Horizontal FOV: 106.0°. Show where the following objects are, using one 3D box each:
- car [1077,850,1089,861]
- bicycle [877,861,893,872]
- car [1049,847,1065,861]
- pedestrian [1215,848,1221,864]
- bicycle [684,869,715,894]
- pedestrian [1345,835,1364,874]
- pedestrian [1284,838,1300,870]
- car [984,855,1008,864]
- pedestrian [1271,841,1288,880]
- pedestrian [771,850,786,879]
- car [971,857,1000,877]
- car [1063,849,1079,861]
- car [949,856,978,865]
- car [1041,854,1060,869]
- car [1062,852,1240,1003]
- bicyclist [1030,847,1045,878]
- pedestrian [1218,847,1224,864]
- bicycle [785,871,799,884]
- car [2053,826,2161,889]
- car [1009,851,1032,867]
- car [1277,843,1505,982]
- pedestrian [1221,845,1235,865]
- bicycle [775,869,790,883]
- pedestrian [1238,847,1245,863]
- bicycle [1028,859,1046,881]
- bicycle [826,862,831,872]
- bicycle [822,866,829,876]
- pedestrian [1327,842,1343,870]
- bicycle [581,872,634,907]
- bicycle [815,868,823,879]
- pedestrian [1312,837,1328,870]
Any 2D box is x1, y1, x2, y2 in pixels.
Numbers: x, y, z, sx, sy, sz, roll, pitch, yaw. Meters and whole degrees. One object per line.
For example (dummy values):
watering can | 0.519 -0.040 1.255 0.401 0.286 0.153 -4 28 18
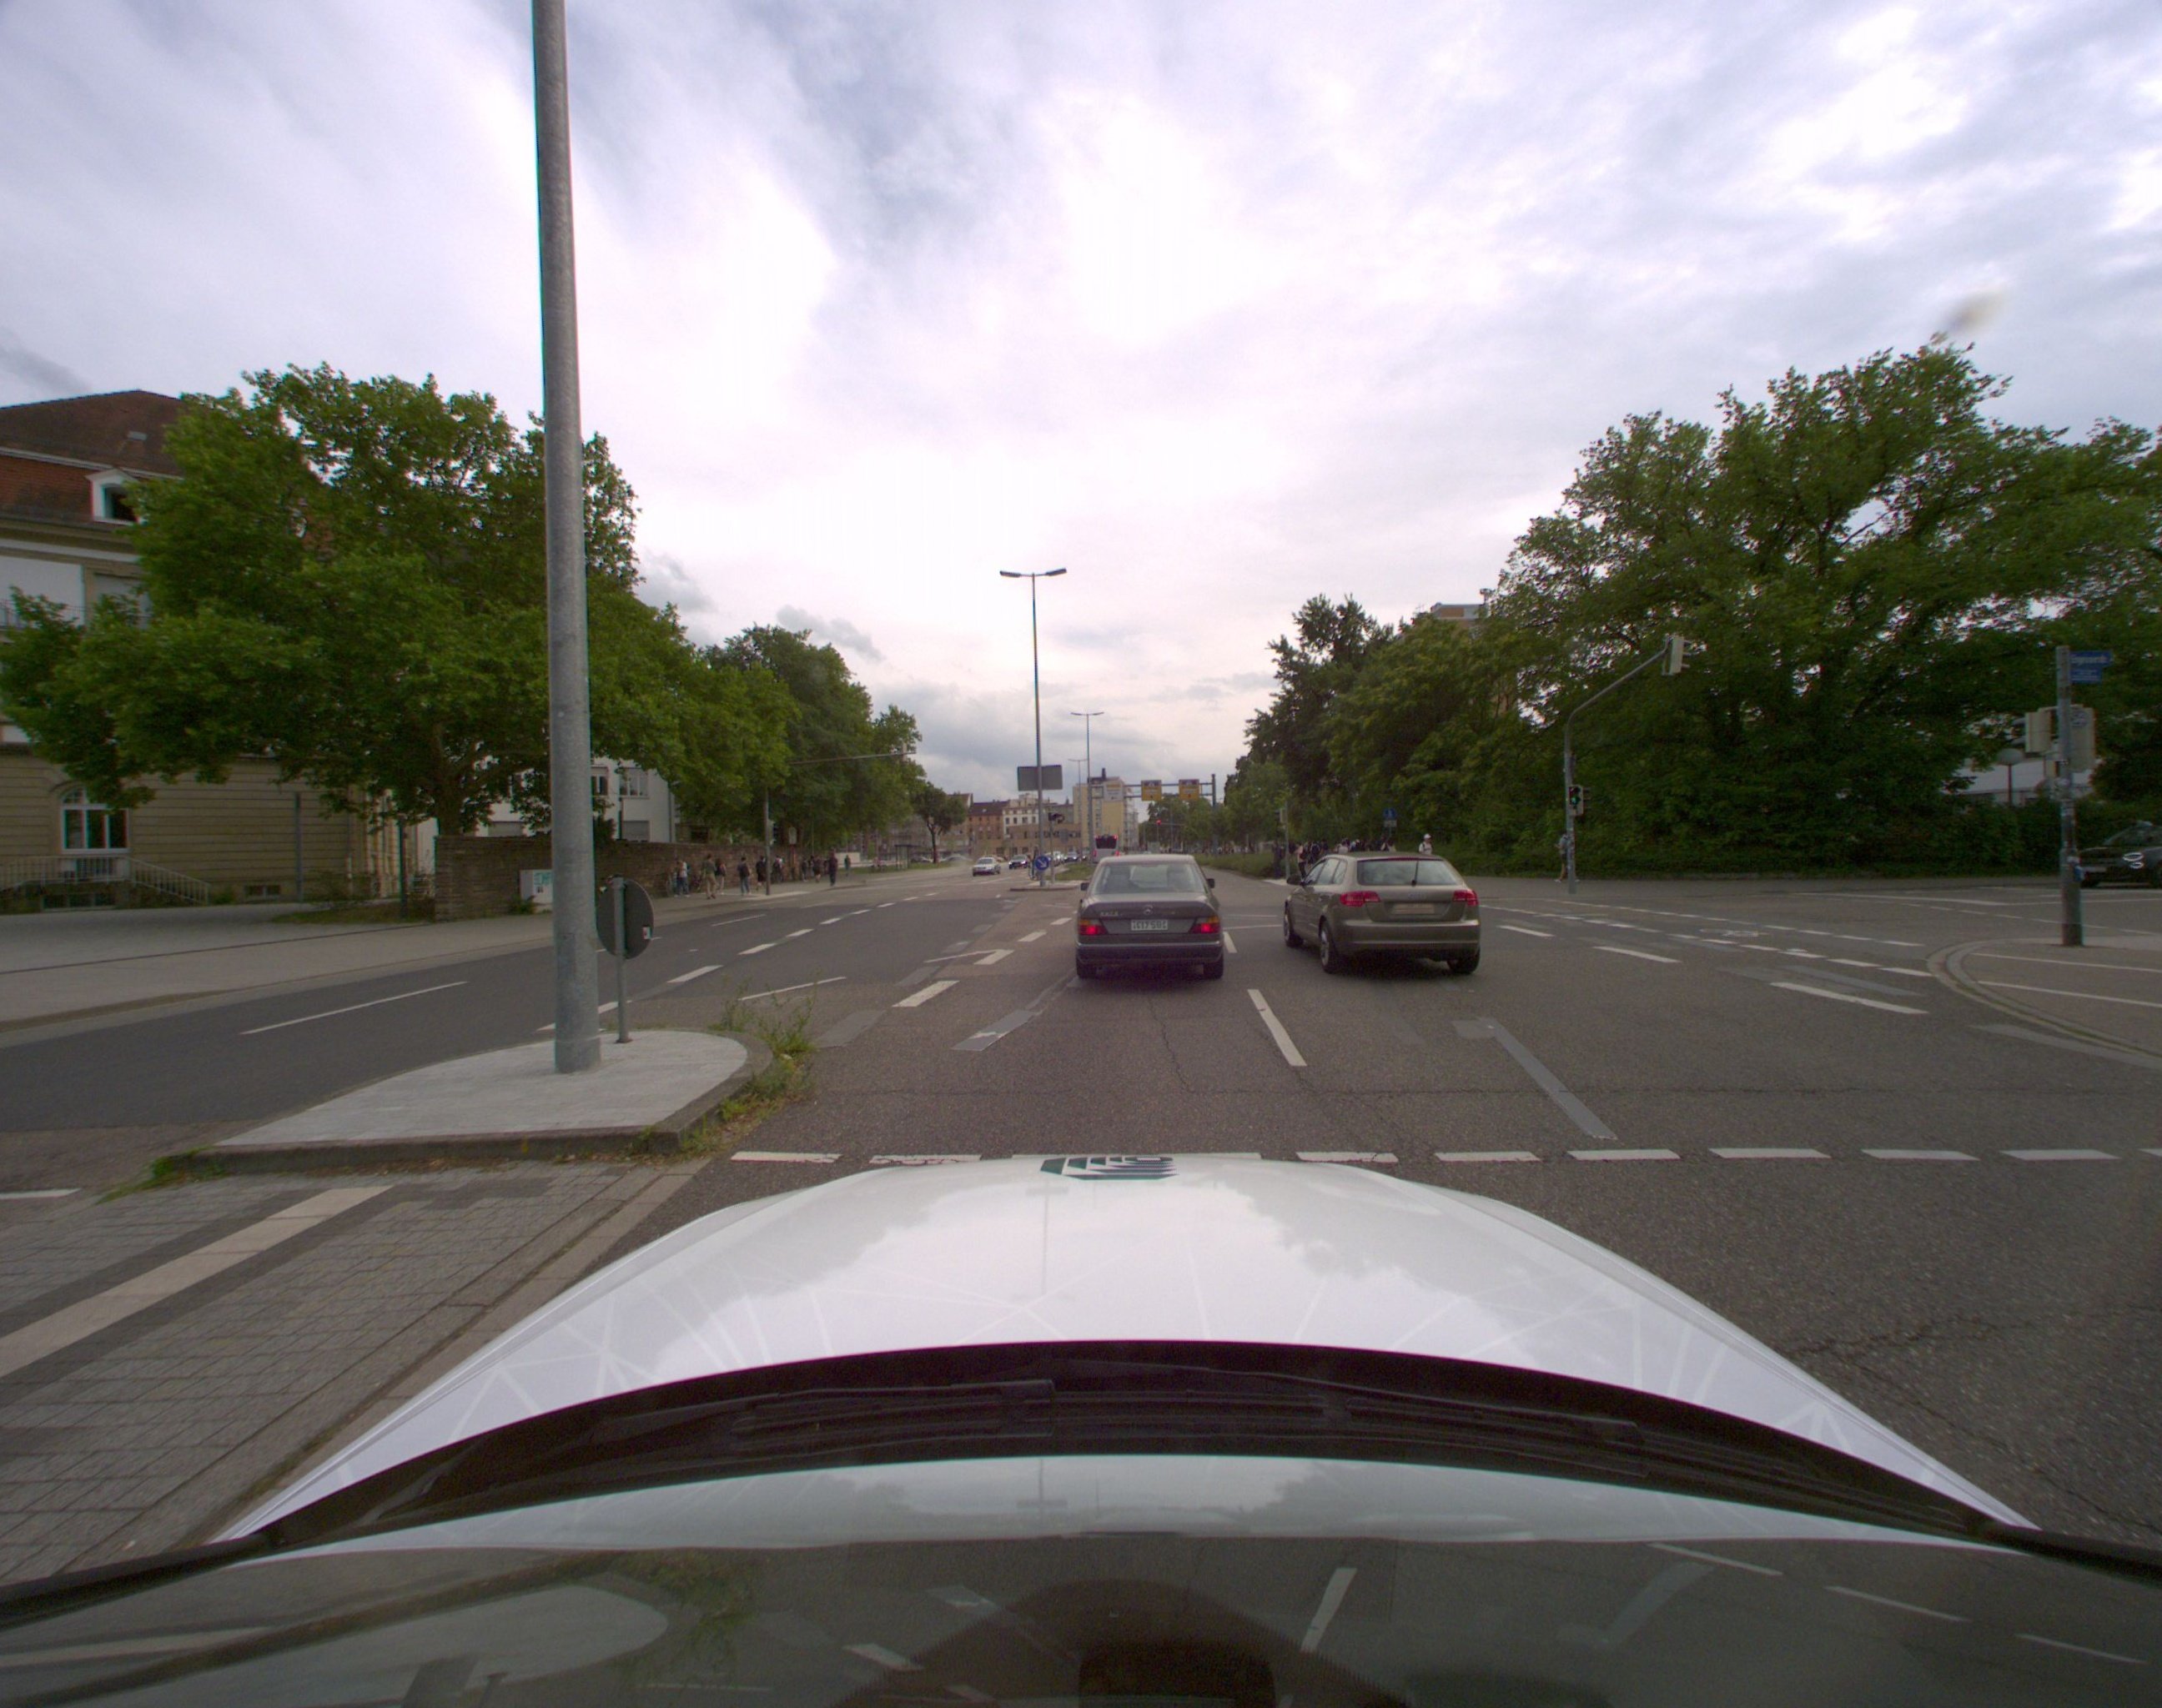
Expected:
car | 0.310 0.218 128.617 1.564 1.489 3.642 -4 0 5
bicycle | -17.767 1.144 73.861 0.467 0.918 2.346 -1 0 11
car | -3.584 0.049 121.369 1.934 2.013 4.003 -2 0 3
pedestrian | 17.092 0.210 101.567 0.611 2.013 0.598 -1 0 2
bicycle | -17.301 1.225 36.999 0.547 1.058 1.979 1 0 -3
pedestrian | 12.383 0.034 36.887 0.579 1.745 0.790 -2 0 2
pedestrian | 12.260 -0.023 47.416 0.690 1.821 0.955 -2 0 4
car | -14.138 0.973 136.314 3.846 1.517 1.659 0 0 -2
pedestrian | 9.074 0.297 37.290 0.599 1.735 0.655 -2 0 1
pedestrian | -17.629 0.617 47.468 0.762 1.671 0.917 -1 1 -25
car | -7.712 1.027 66.109 1.755 1.489 4.546 -2 0 1
car | -1.349 0.159 109.726 1.794 1.511 4.107 -2 0 3
car | -19.600 1.059 135.860 4.656 1.475 1.659 0 0 -2
car | -3.315 0.785 88.009 1.795 1.489 4.289 -2 0 1
car | 0.822 0.746 10.353 1.754 1.489 4.174 -2 0 3
bicyclist | -2.222 0.443 41.565 0.569 1.574 0.701 -1 0 8
pedestrian | 16.571 0.198 96.196 0.611 2.013 0.598 -1 0 2
bicycle | -18.807 1.521 52.987 0.440 0.797 1.618 1 1 -6
car | 26.175 0.061 19.575 3.558 1.442 1.684 -1 -1 1
car | -6.497 0.562 87.847 1.890 1.616 4.746 -2 0 2
car | 3.799 0.631 10.688 1.717 1.457 3.739 -2 0 3
pedestrian | 13.556 0.109 75.026 0.925 1.830 0.892 -2 0 31
bicycle | -18.602 1.354 50.733 0.440 0.797 1.618 1 1 -6
pedestrian | 17.988 0.123 91.063 0.641 1.713 0.564 -2 0 18
bicycle | -2.245 0.789 41.630 0.570 1.055 1.930 -1 0 8
bicycle | -22.156 1.159 71.440 0.347 0.878 1.515 1 -1 -14
bicycle | -21.680 1.443 69.190 0.417 0.878 1.548 1 -1 -14
pedestrian | 14.475 0.101 46.387 0.633 1.584 0.786 -2 0 4
bicycle | -16.690 1.216 28.762 0.576 1.126 2.164 1 0 -1
bicycle | -20.328 1.521 63.244 0.441 0.827 1.613 1 -1 -14
pedestrian | 13.422 -0.013 45.774 0.653 1.821 0.813 -2 0 4
